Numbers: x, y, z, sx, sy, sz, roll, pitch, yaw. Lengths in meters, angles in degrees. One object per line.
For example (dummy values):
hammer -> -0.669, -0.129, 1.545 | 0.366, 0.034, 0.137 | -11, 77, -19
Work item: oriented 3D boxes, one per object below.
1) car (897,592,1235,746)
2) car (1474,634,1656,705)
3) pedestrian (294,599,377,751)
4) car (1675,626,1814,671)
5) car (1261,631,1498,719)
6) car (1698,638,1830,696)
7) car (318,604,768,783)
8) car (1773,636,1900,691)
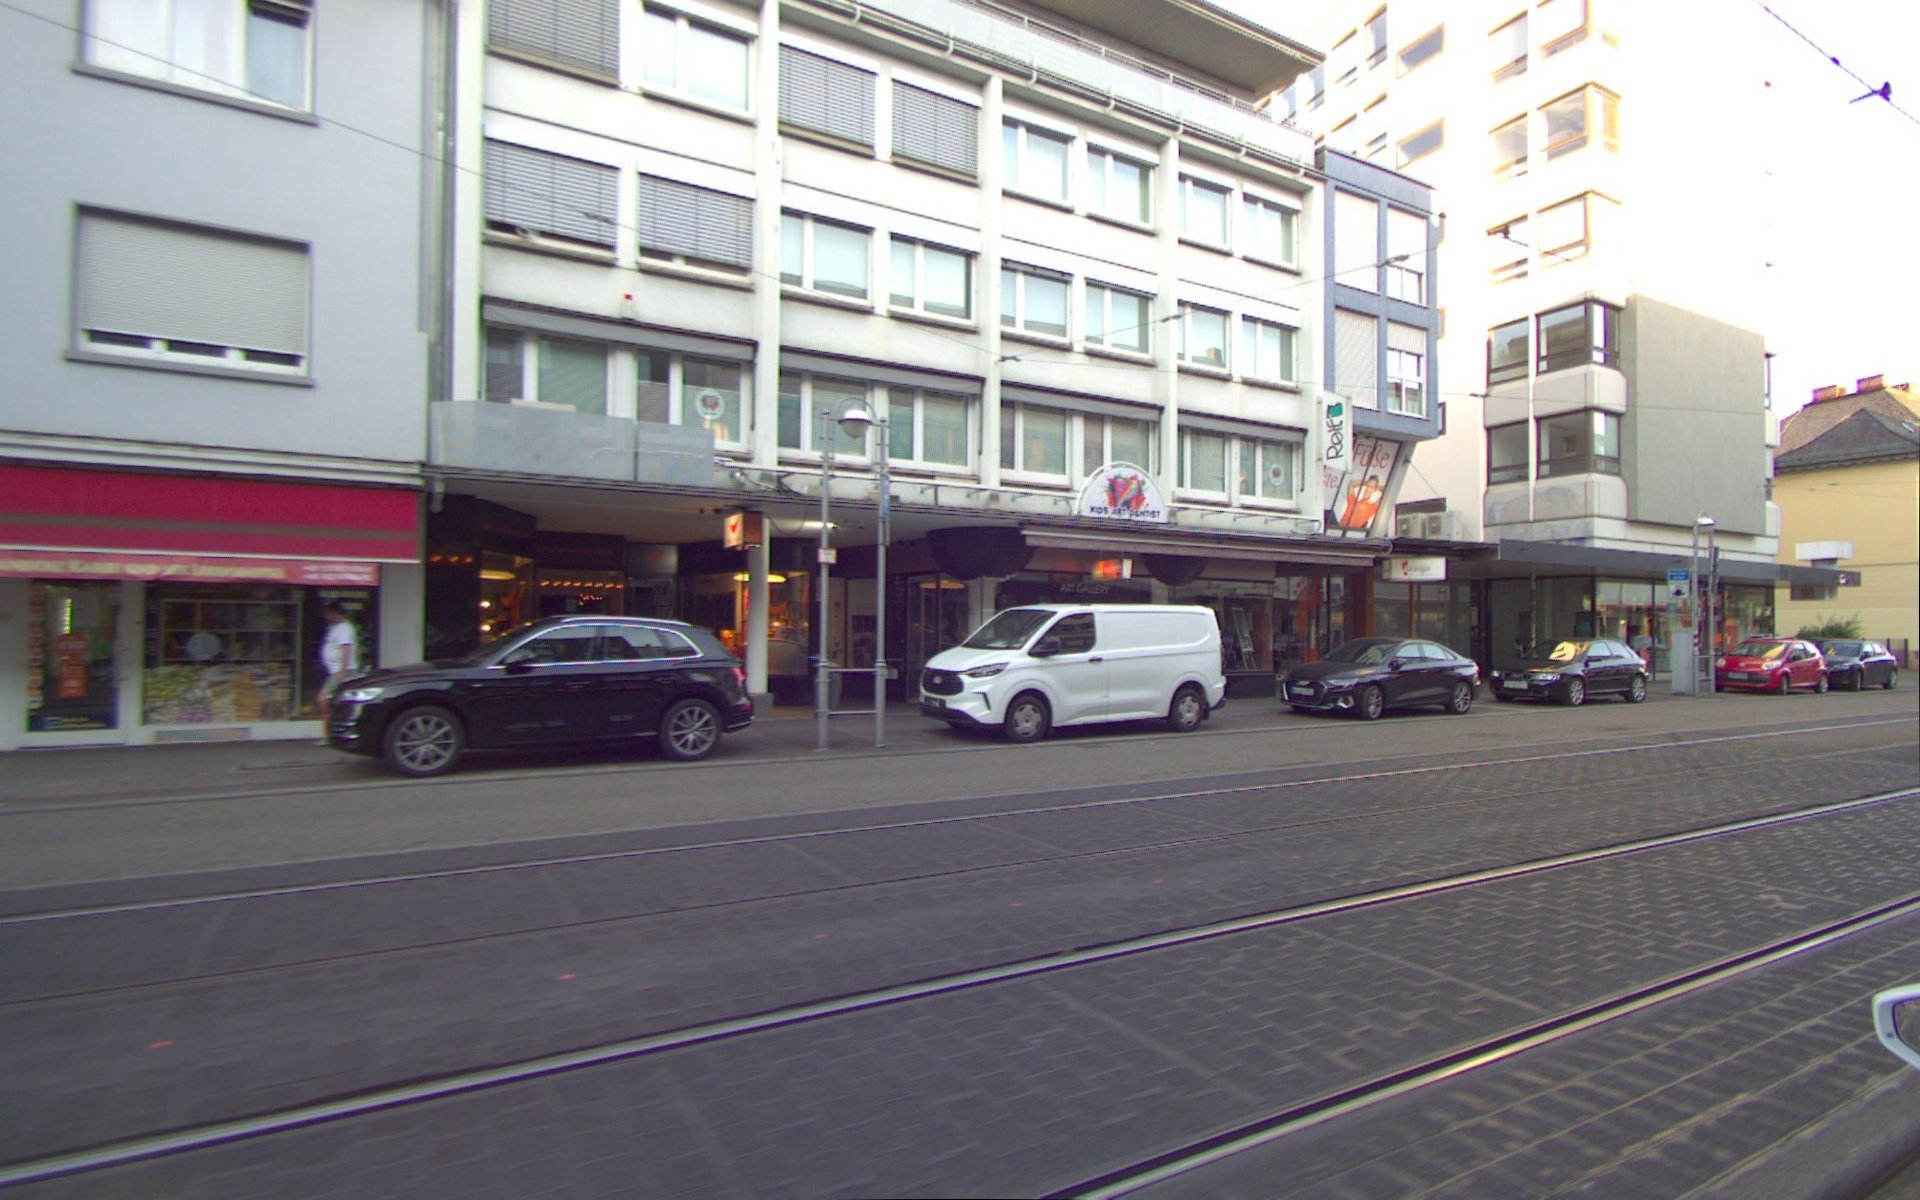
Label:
car -> 1.727, 0.983, 15.557 | 5.042, 2.040, 1.954 | 2, 0, -32
car -> 13.688, 1.515, 22.681 | 4.042, 1.480, 1.782 | 1, -2, -30
pedestrian -> -7.770, 0.906, 12.530 | 0.809, 1.806, 0.813 | 2, 0, -30
car -> 31.257, 1.890, 40.111 | 1.893, 1.573, 3.965 | 2, 0, -32
car -> 8.113, 1.386, 19.314 | 4.518, 1.445, 1.863 | 2, 0, -31
car -> 22.055, 1.781, 27.536 | 3.550, 1.453, 1.683 | 1, -1, -31
car -> -4.771, 0.974, 11.809 | 4.535, 1.720, 1.984 | 2, 0, -31
car -> 26.144, 1.842, 29.938 | 3.919, 1.444, 1.683 | 1, 1, -31
